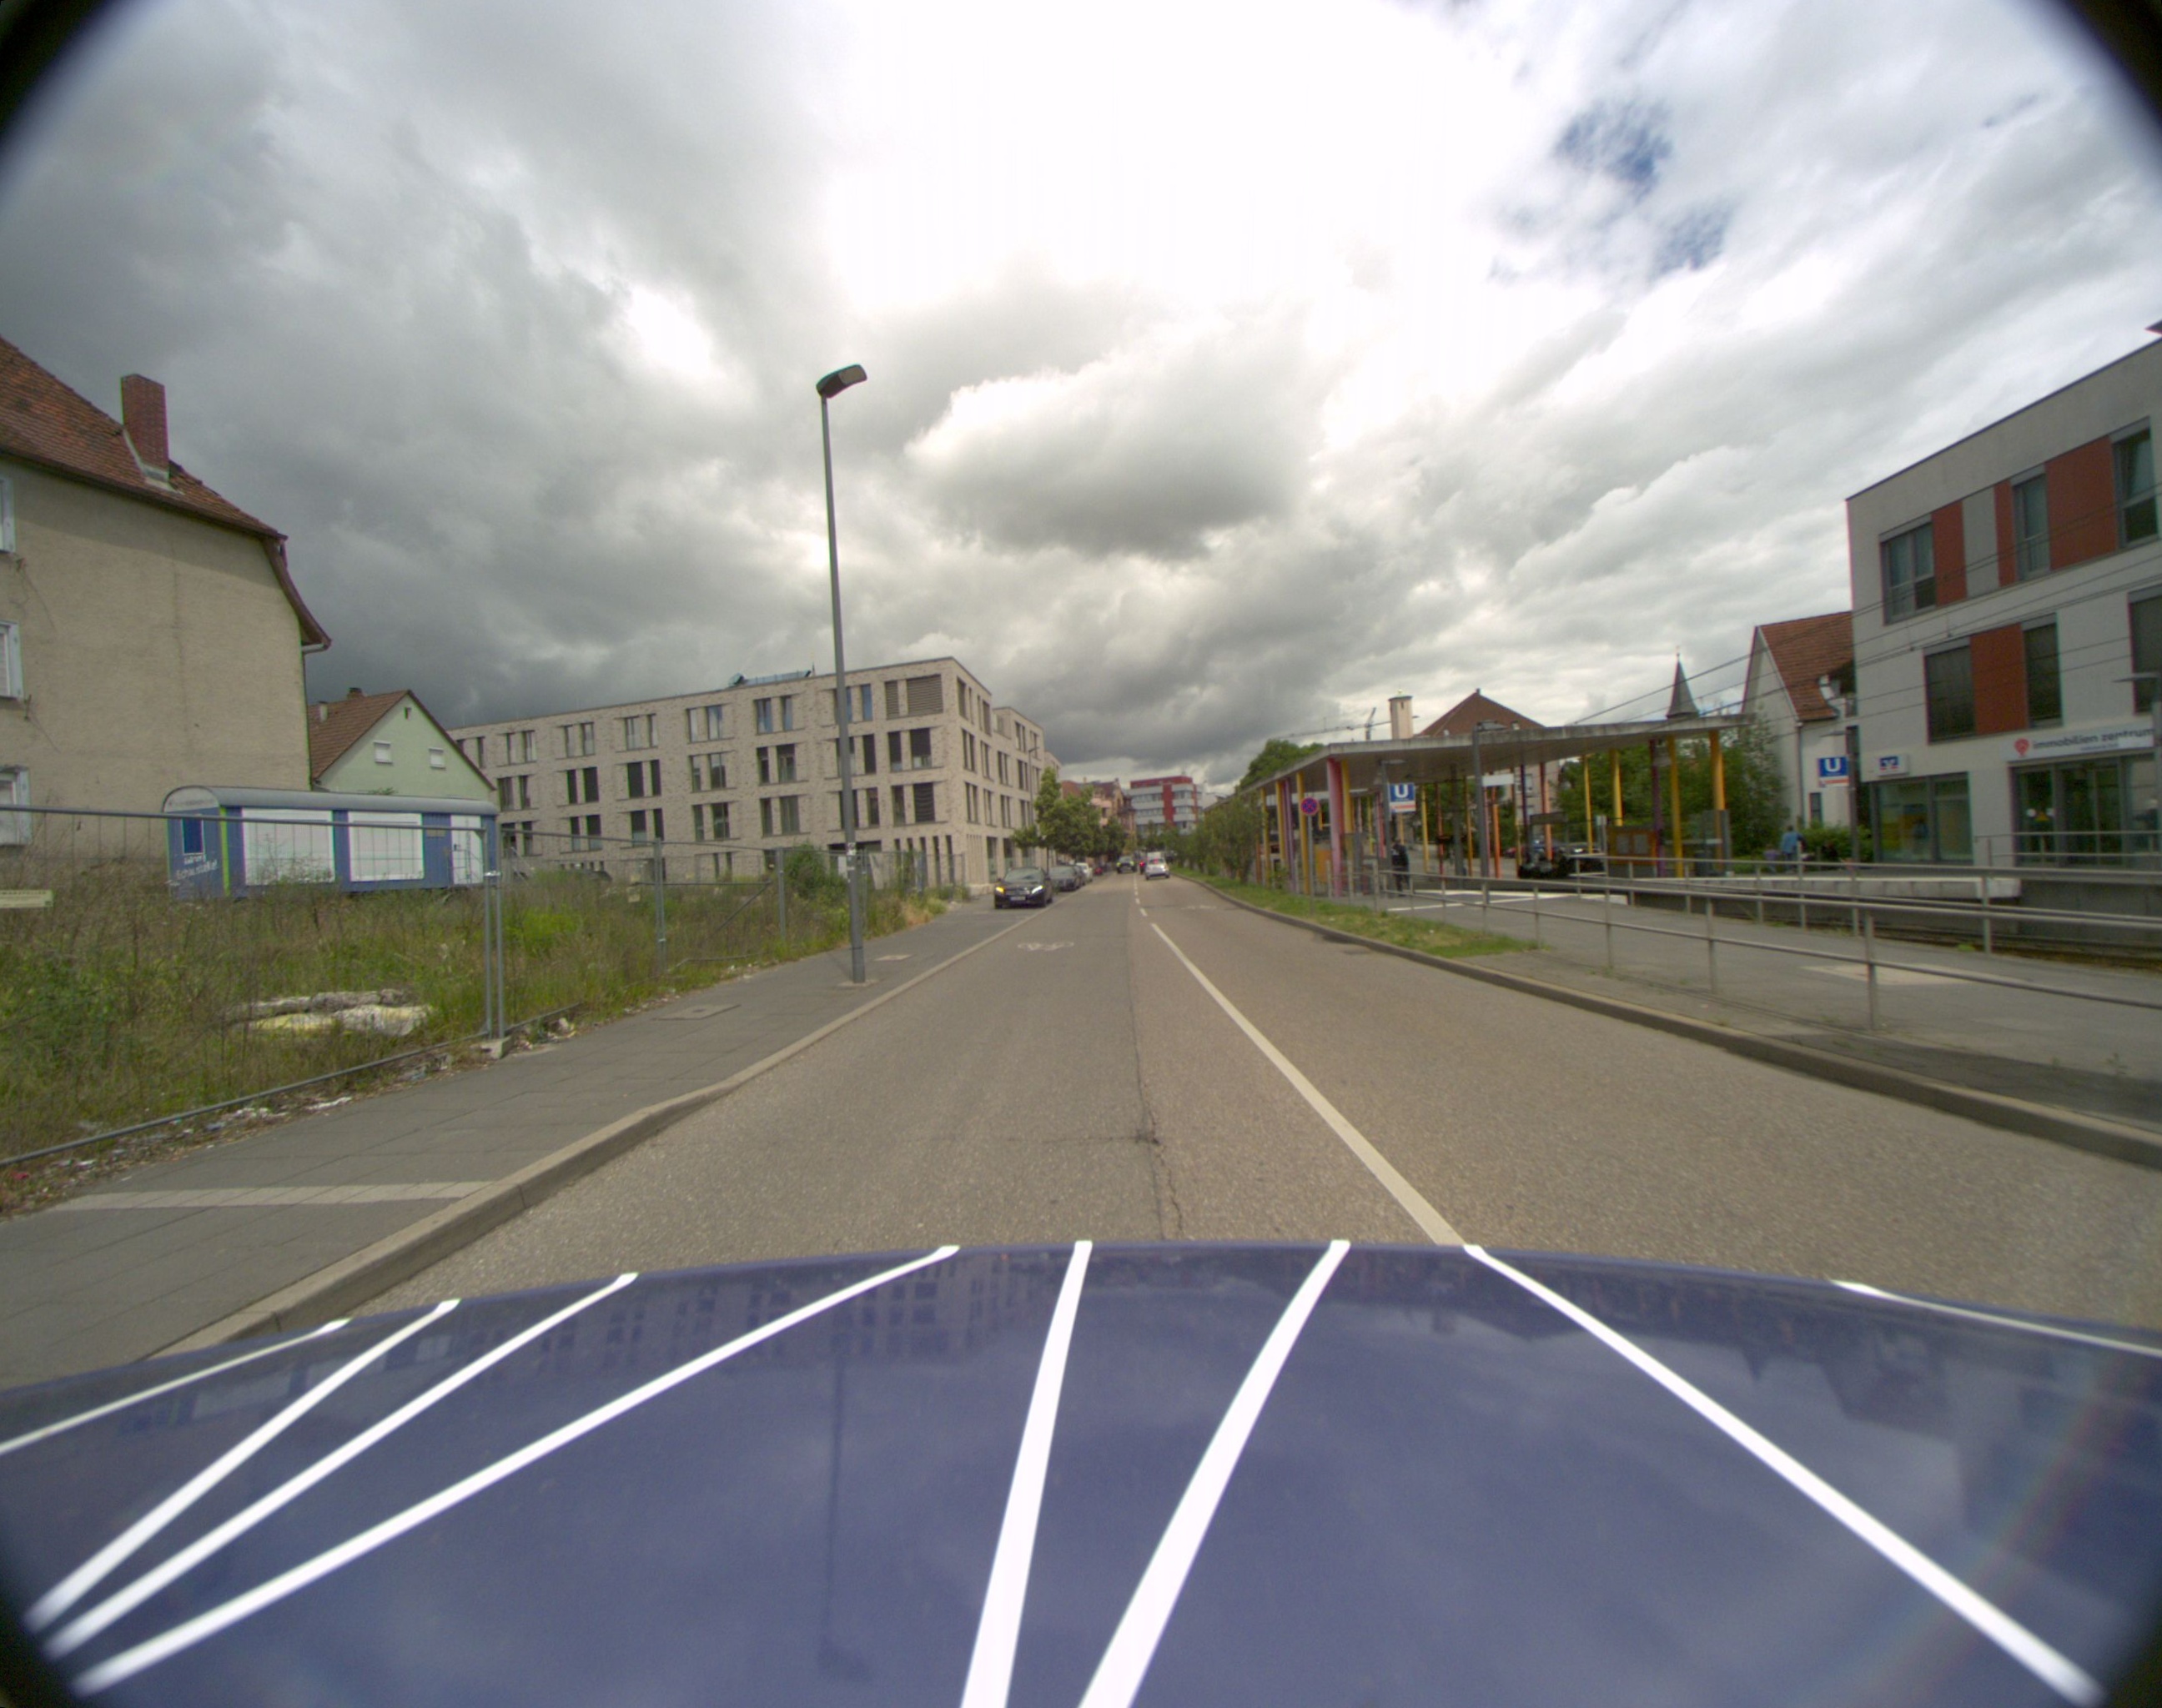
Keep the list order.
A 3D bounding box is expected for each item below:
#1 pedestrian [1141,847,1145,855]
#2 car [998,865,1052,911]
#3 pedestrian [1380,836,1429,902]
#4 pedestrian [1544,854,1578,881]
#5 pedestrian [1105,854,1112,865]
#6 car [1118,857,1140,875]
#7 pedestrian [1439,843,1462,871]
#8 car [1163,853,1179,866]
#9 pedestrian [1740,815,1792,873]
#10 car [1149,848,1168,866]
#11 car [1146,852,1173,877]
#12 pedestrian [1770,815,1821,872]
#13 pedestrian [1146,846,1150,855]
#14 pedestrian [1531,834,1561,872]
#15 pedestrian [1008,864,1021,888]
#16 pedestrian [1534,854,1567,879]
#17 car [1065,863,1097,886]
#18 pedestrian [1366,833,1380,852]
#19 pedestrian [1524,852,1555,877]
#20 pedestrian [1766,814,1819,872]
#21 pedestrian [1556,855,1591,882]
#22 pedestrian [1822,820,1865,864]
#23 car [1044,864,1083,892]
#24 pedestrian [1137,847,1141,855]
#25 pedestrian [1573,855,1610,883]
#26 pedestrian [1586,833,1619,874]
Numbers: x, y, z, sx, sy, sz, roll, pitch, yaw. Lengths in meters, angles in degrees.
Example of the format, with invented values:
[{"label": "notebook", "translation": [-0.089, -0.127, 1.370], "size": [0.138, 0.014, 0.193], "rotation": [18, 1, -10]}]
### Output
[{"label": "pedestrian", "translation": [10.992, -0.534, 134.213], "size": [0.673, 1.503, 0.783], "rotation": [-2, 0, 5]}, {"label": "car", "translation": [-2.002, 1.188, 27.986], "size": [1.678, 1.415, 3.794], "rotation": [-2, 1, 0]}, {"label": "pedestrian", "translation": [9.719, 0.434, 22.868], "size": [1.105, 1.903, 0.865], "rotation": [-2, 1, 5]}, {"label": "pedestrian", "translation": [21.643, 0.603, 34.282], "size": [0.943, 1.128, 0.886], "rotation": [-2, 0, 5]}, {"label": "pedestrian", "translation": [3.860, 0.826, 107.299], "size": [0.673, 1.503, 0.783], "rotation": [-2, 0, 19]}, {"label": "car", "translation": [5.377, 1.309, 84.501], "size": [2.003, 1.876, 5.152], "rotation": [-2, 1, 7]}, {"label": "pedestrian", "translation": [26.607, 0.218, 54.798], "size": [1.127, 2.002, 1.179], "rotation": [-2, 0, 8]}, {"label": "car", "translation": [12.417, 0.760, 104.976], "size": [1.866, 1.696, 4.002], "rotation": [-2, 1, 10]}, {"label": "pedestrian", "translation": [23.903, -0.354, 26.537], "size": [0.863, 1.957, 1.106], "rotation": [-2, 1, 8]}, {"label": "car", "translation": [9.311, 0.304, 90.832], "size": [1.997, 2.064, 4.002], "rotation": [-2, 1, 10]}, {"label": "car", "translation": [5.504, 0.731, 53.692], "size": [1.588, 1.527, 3.947], "rotation": [-6, 0, 4]}, {"label": "pedestrian", "translation": [25.706, -0.379, 27.350], "size": [0.863, 1.957, 1.106], "rotation": [-2, 1, 8]}, {"label": "pedestrian", "translation": [11.971, -0.578, 135.282], "size": [0.673, 1.503, 0.783], "rotation": [-2, 0, 5]}, {"label": "pedestrian", "translation": [24.565, -0.055, 40.162], "size": [0.864, 1.957, 1.106], "rotation": [-2, 1, 1]}, {"label": "pedestrian", "translation": [-4.397, 1.449, 50.038], "size": [0.673, 1.503, 0.783], "rotation": [-2, 0, 3]}, {"label": "pedestrian", "translation": [21.785, 0.587, 35.267], "size": [0.943, 1.128, 0.886], "rotation": [-2, 0, 5]}, {"label": "car", "translation": [0.034, 1.307, 49.563], "size": [1.677, 1.299, 3.796], "rotation": [-2, 1, 6]}, {"label": "pedestrian", "translation": [30.684, -1.186, 79.783], "size": [1.127, 2.002, 0.816], "rotation": [-2, 0, 8]}, {"label": "pedestrian", "translation": [21.881, 0.514, 36.277], "size": [0.943, 1.128, 0.886], "rotation": [-2, 0, 5]}, {"label": "pedestrian", "translation": [24.683, -0.377, 26.369], "size": [0.863, 1.957, 1.106], "rotation": [-2, 1, 8]}, {"label": "pedestrian", "translation": [21.583, 0.617, 33.325], "size": [0.943, 1.128, 0.886], "rotation": [-2, 0, 5]}, {"label": "pedestrian", "translation": [35.443, -0.547, 35.315], "size": [1.104, 1.957, 0.865], "rotation": [-2, 1, 7]}, {"label": "car", "translation": [-0.915, 1.274, 41.697], "size": [1.677, 1.367, 3.796], "rotation": [-2, 0, 6]}, {"label": "pedestrian", "translation": [10.211, -0.511, 134.345], "size": [0.673, 1.503, 0.783], "rotation": [-2, 0, 5]}, {"label": "pedestrian", "translation": [21.734, 0.623, 32.361], "size": [0.943, 1.128, 0.886], "rotation": [-2, 0, 5]}, {"label": "pedestrian", "translation": [25.706, -0.035, 37.476], "size": [0.863, 1.957, 1.106], "rotation": [-2, 1, 5]}]
